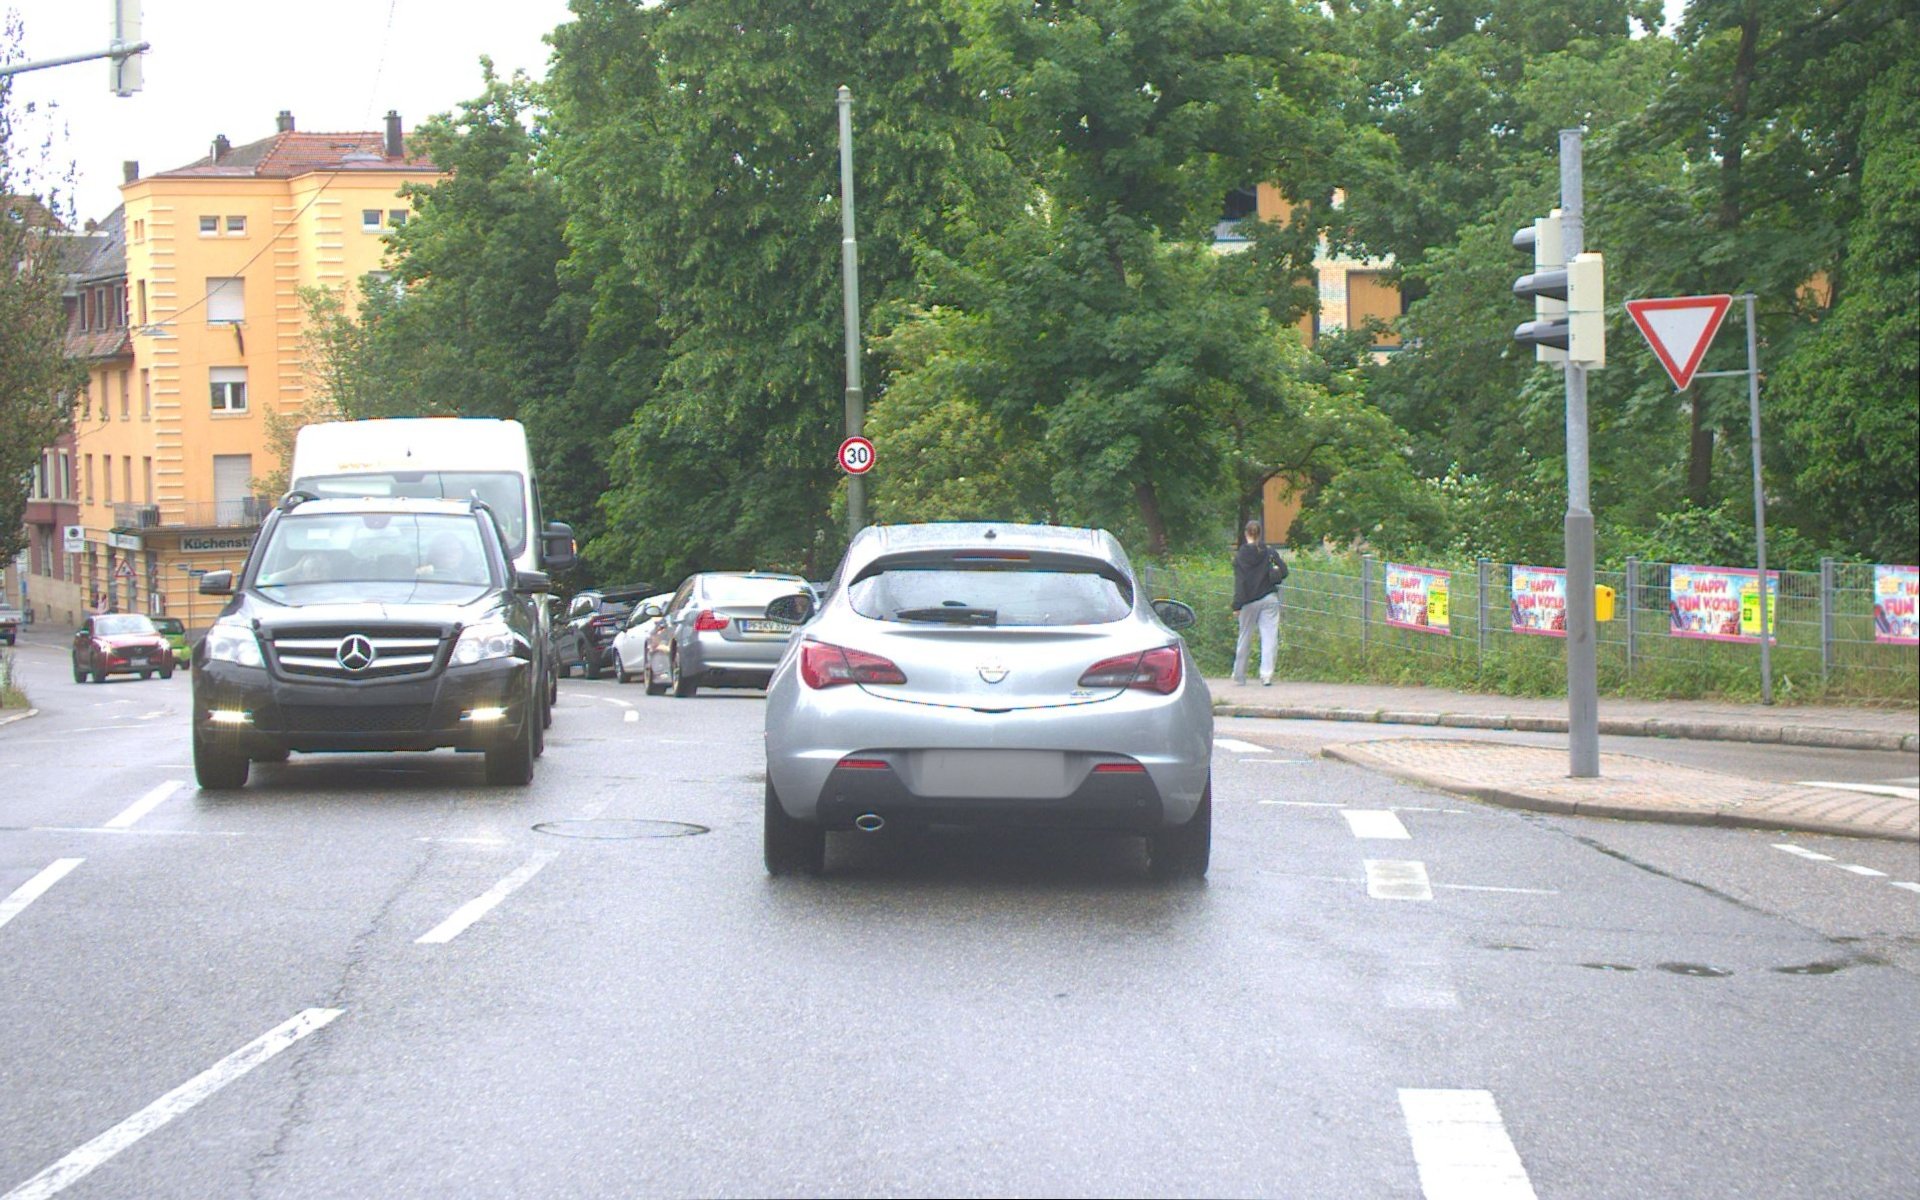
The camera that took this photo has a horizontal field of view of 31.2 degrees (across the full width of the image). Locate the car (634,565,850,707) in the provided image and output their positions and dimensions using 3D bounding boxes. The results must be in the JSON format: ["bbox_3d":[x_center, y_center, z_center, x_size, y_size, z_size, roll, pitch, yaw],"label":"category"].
[{"bbox_3d":[-2.477,0.424,38.216,1.776,1.425,3.786,-3,-1,-12],"label":"car"}]

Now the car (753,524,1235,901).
[{"bbox_3d":[0.017,0.402,15.320,1.814,1.425,4.001,-1,1,-4],"label":"car"}]

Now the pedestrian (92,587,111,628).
[{"bbox_3d":[-32.443,0.289,129.933,0.613,1.491,0.553,-2,3,-22],"label":"pedestrian"}]

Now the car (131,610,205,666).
[{"bbox_3d":[-22.825,1.092,99.023,1.639,1.531,3.717,-2,0,-19],"label":"car"}]

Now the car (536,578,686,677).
[{"bbox_3d":[-6.651,0.521,65.133,1.821,1.677,4.804,-4,1,-17],"label":"car"}]

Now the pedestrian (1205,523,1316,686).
[{"bbox_3d":[3.076,0.048,35.228,0.765,1.600,0.966,-4,0,-13],"label":"pedestrian"}]

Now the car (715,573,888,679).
[{"bbox_3d":[-2.347,0.383,49.909,1.649,1.400,3.814,-3,0,-15],"label":"car"}]

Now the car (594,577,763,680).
[{"bbox_3d":[-4.926,0.521,59.731,1.815,1.490,4.001,-7,1,-19],"label":"car"}]

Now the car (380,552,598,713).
[{"bbox_3d":[-4.699,0.312,33.879,1.814,1.425,4.001,-2,0,-12],"label":"car"}]

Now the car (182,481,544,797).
[{"bbox_3d":[-3.388,0.164,20.197,1.821,1.646,4.347,0,1,-6],"label":"car"}]

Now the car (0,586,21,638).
[{"bbox_3d":[-35.878,0.458,127.369,1.781,1.849,4.001,-1,-1,-20],"label":"car"}]

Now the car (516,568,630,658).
[{"bbox_3d":[-6.405,0.207,56.639,1.382,1.407,3.457,-1,0,-14],"label":"car"}]

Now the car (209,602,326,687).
[{"bbox_3d":[-13.491,0.855,66.808,1.845,1.578,4.280,0,0,-16],"label":"car"}]

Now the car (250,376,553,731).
[{"bbox_3d":[-4.417,-0.337,27.895,2.117,2.537,5.541,-2,0,-7],"label":"car"}]
